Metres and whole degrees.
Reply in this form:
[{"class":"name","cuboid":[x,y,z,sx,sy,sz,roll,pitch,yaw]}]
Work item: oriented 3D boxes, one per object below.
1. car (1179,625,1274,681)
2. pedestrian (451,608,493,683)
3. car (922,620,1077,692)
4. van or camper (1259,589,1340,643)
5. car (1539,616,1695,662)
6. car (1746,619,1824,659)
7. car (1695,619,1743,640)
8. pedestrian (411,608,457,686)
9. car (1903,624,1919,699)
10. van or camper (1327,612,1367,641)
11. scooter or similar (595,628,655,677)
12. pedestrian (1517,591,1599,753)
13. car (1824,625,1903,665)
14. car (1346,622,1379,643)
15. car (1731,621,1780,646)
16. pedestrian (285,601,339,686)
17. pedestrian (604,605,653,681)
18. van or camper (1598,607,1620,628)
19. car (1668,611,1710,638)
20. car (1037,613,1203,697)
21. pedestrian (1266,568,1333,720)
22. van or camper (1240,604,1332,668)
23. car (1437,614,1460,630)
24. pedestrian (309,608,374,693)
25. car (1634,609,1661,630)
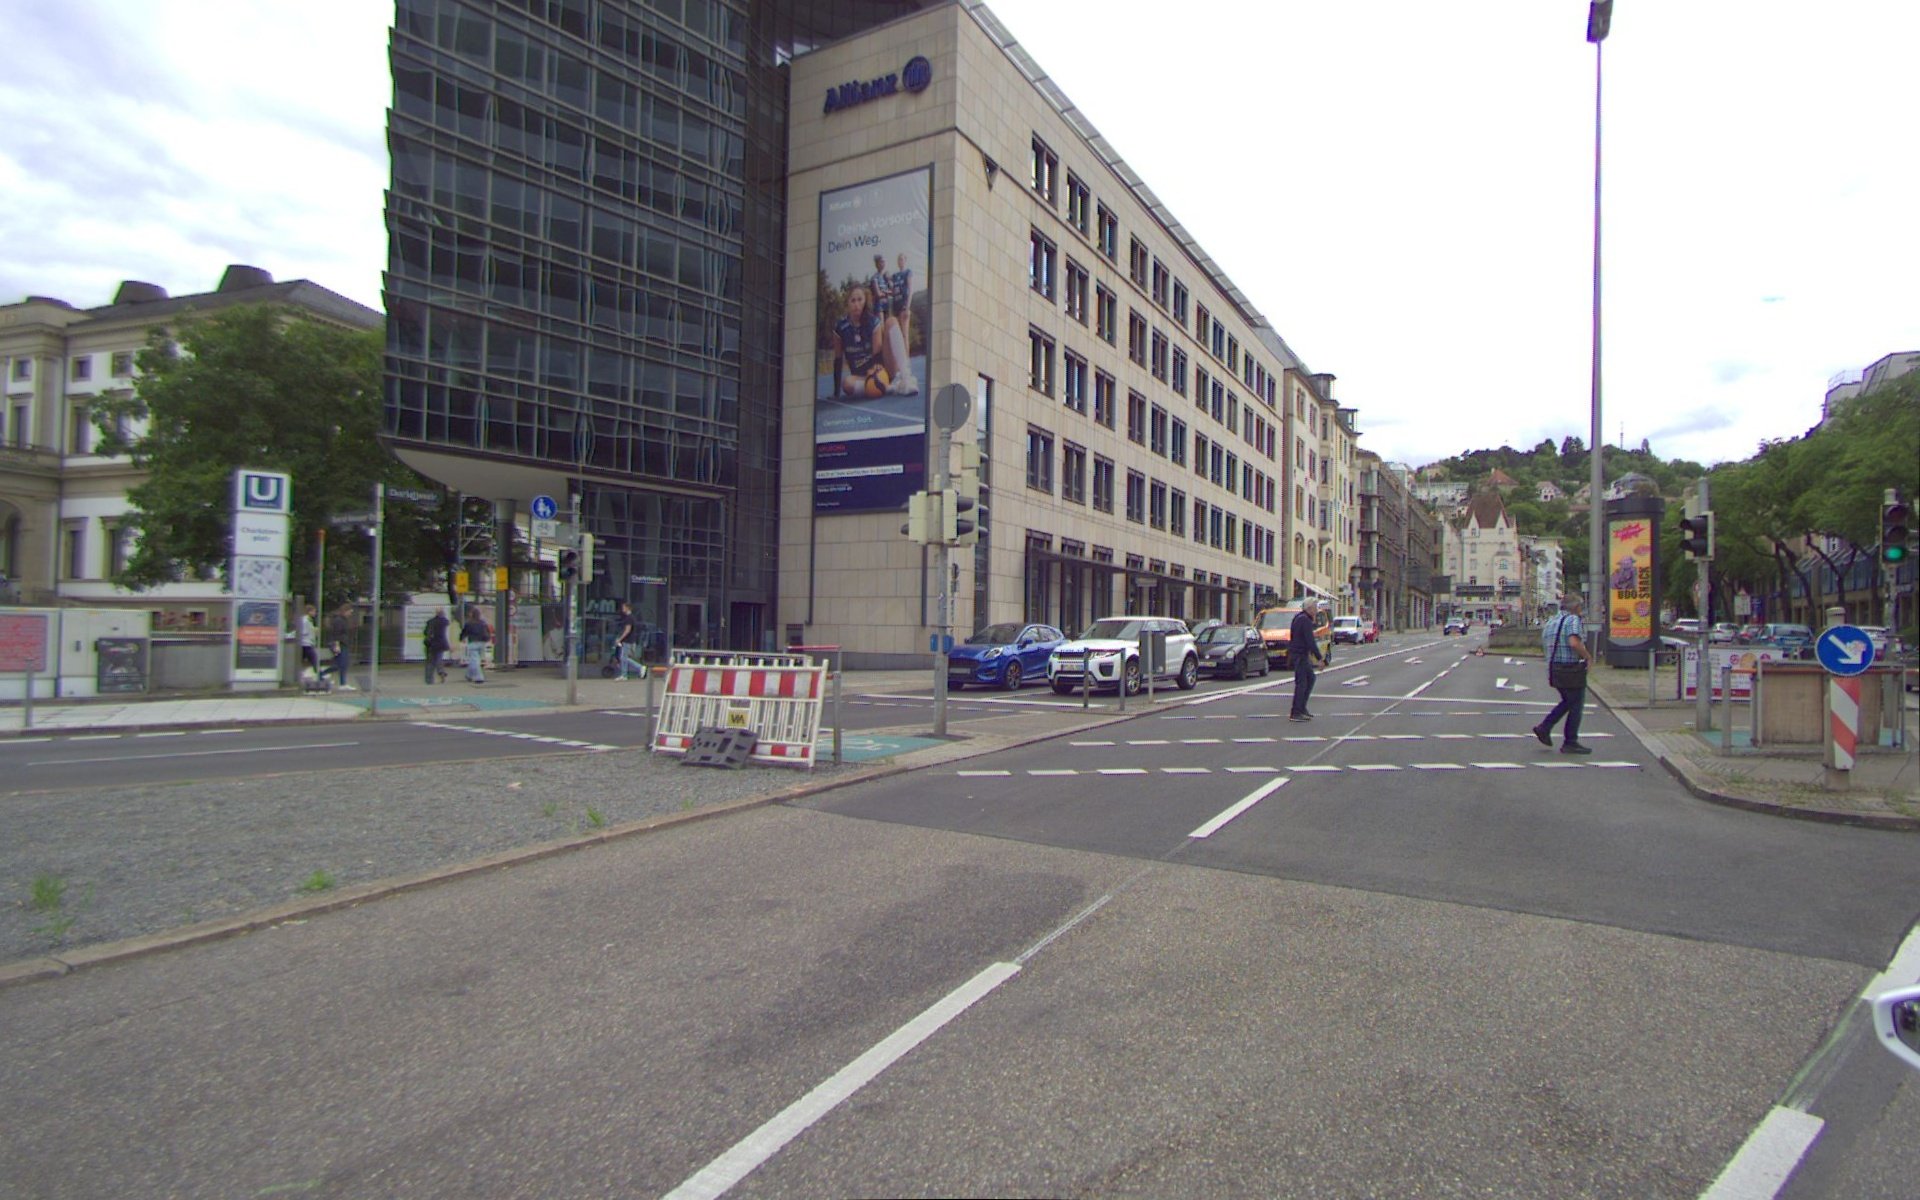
[{"class":"car","cuboid":[7.313,1.392,27.374,1.534,1.397,3.625,-1,-2,31]},{"class":"pedestrian","cuboid":[-11.387,1.047,23.431,0.633,1.723,0.630,0,-1,35]},{"class":"car","cuboid":[1.034,1.256,23.921,1.965,1.545,4.082,0,-1,31]},{"class":"van or camper","cuboid":[18.365,0.863,54.104,2.958,2.762,6.234,0,-1,30]},{"class":"car","cuboid":[23.189,1.352,35.537,4.495,1.478,1.873,0,-1,39]},{"class":"car","cuboid":[32.811,1.532,40.051,1.805,1.537,3.760,-1,-2,30]},{"class":"car","cuboid":[54.008,2.087,71.534,2.025,1.437,4.328,-1,-2,28]},{"class":"pedestrian","cuboid":[-11.875,1.037,22.685,0.757,1.723,0.630,0,-1,35]},{"class":"car","cuboid":[21.040,1.273,20.909,1.812,1.414,4.127,1,1,40]},{"class":"van or camper","cuboid":[24.864,1.706,64.482,1.840,1.775,4.479,1,-1,29]},{"class":"scooter or similar","cuboid":[-8.621,1.345,25.890,1.358,1.224,0.533,0,-1,-1]},{"class":"pedestrian","cuboid":[6.934,0.824,11.674,0.705,1.814,0.633,-4,-1,30]},{"class":"car","cuboid":[36.551,1.799,40.729,1.807,1.537,3.757,-1,-2,33]},{"class":"car","cuboid":[28.129,2.248,70.188,1.760,1.424,3.577,0,-1,28]},{"class":"car","cuboid":[46.512,1.943,58.798,1.806,1.381,3.759,-1,-2,31]},{"class":"pedestrian","cuboid":[-13.060,0.877,20.250,0.780,1.652,0.599,4,0,-37]},{"class":"pedestrian","cuboid":[-8.148,1.048,24.725,0.914,1.834,0.697,0,-1,5]},{"class":"van or camper","cuboid":[104.553,2.845,161.907,2.589,3.221,5.792,0,-1,30]},{"class":"car","cuboid":[44.625,1.507,61.548,1.806,1.587,3.758,-1,-2,32]},{"class":"car","cuboid":[3.534,1.113,21.602,1.712,1.620,4.302,-1,-2,37]},{"class":"pedestrian","cuboid":[5.043,0.641,14.969,0.861,2.201,0.763,0,-1,12]},{"class":"van or camper","cuboid":[10.806,1.165,33.071,1.885,1.947,5.074,-2,-2,30]},{"class":"car","cuboid":[48.725,2.183,100.177,1.889,1.547,4.536,0,-1,28]},{"class":"pedestrian","cuboid":[-12.219,0.997,19.847,0.957,1.634,0.648,4,-3,-37]},{"class":"car","cuboid":[65.291,1.860,95.456,1.806,1.899,4.860,-1,-2,31]}]
